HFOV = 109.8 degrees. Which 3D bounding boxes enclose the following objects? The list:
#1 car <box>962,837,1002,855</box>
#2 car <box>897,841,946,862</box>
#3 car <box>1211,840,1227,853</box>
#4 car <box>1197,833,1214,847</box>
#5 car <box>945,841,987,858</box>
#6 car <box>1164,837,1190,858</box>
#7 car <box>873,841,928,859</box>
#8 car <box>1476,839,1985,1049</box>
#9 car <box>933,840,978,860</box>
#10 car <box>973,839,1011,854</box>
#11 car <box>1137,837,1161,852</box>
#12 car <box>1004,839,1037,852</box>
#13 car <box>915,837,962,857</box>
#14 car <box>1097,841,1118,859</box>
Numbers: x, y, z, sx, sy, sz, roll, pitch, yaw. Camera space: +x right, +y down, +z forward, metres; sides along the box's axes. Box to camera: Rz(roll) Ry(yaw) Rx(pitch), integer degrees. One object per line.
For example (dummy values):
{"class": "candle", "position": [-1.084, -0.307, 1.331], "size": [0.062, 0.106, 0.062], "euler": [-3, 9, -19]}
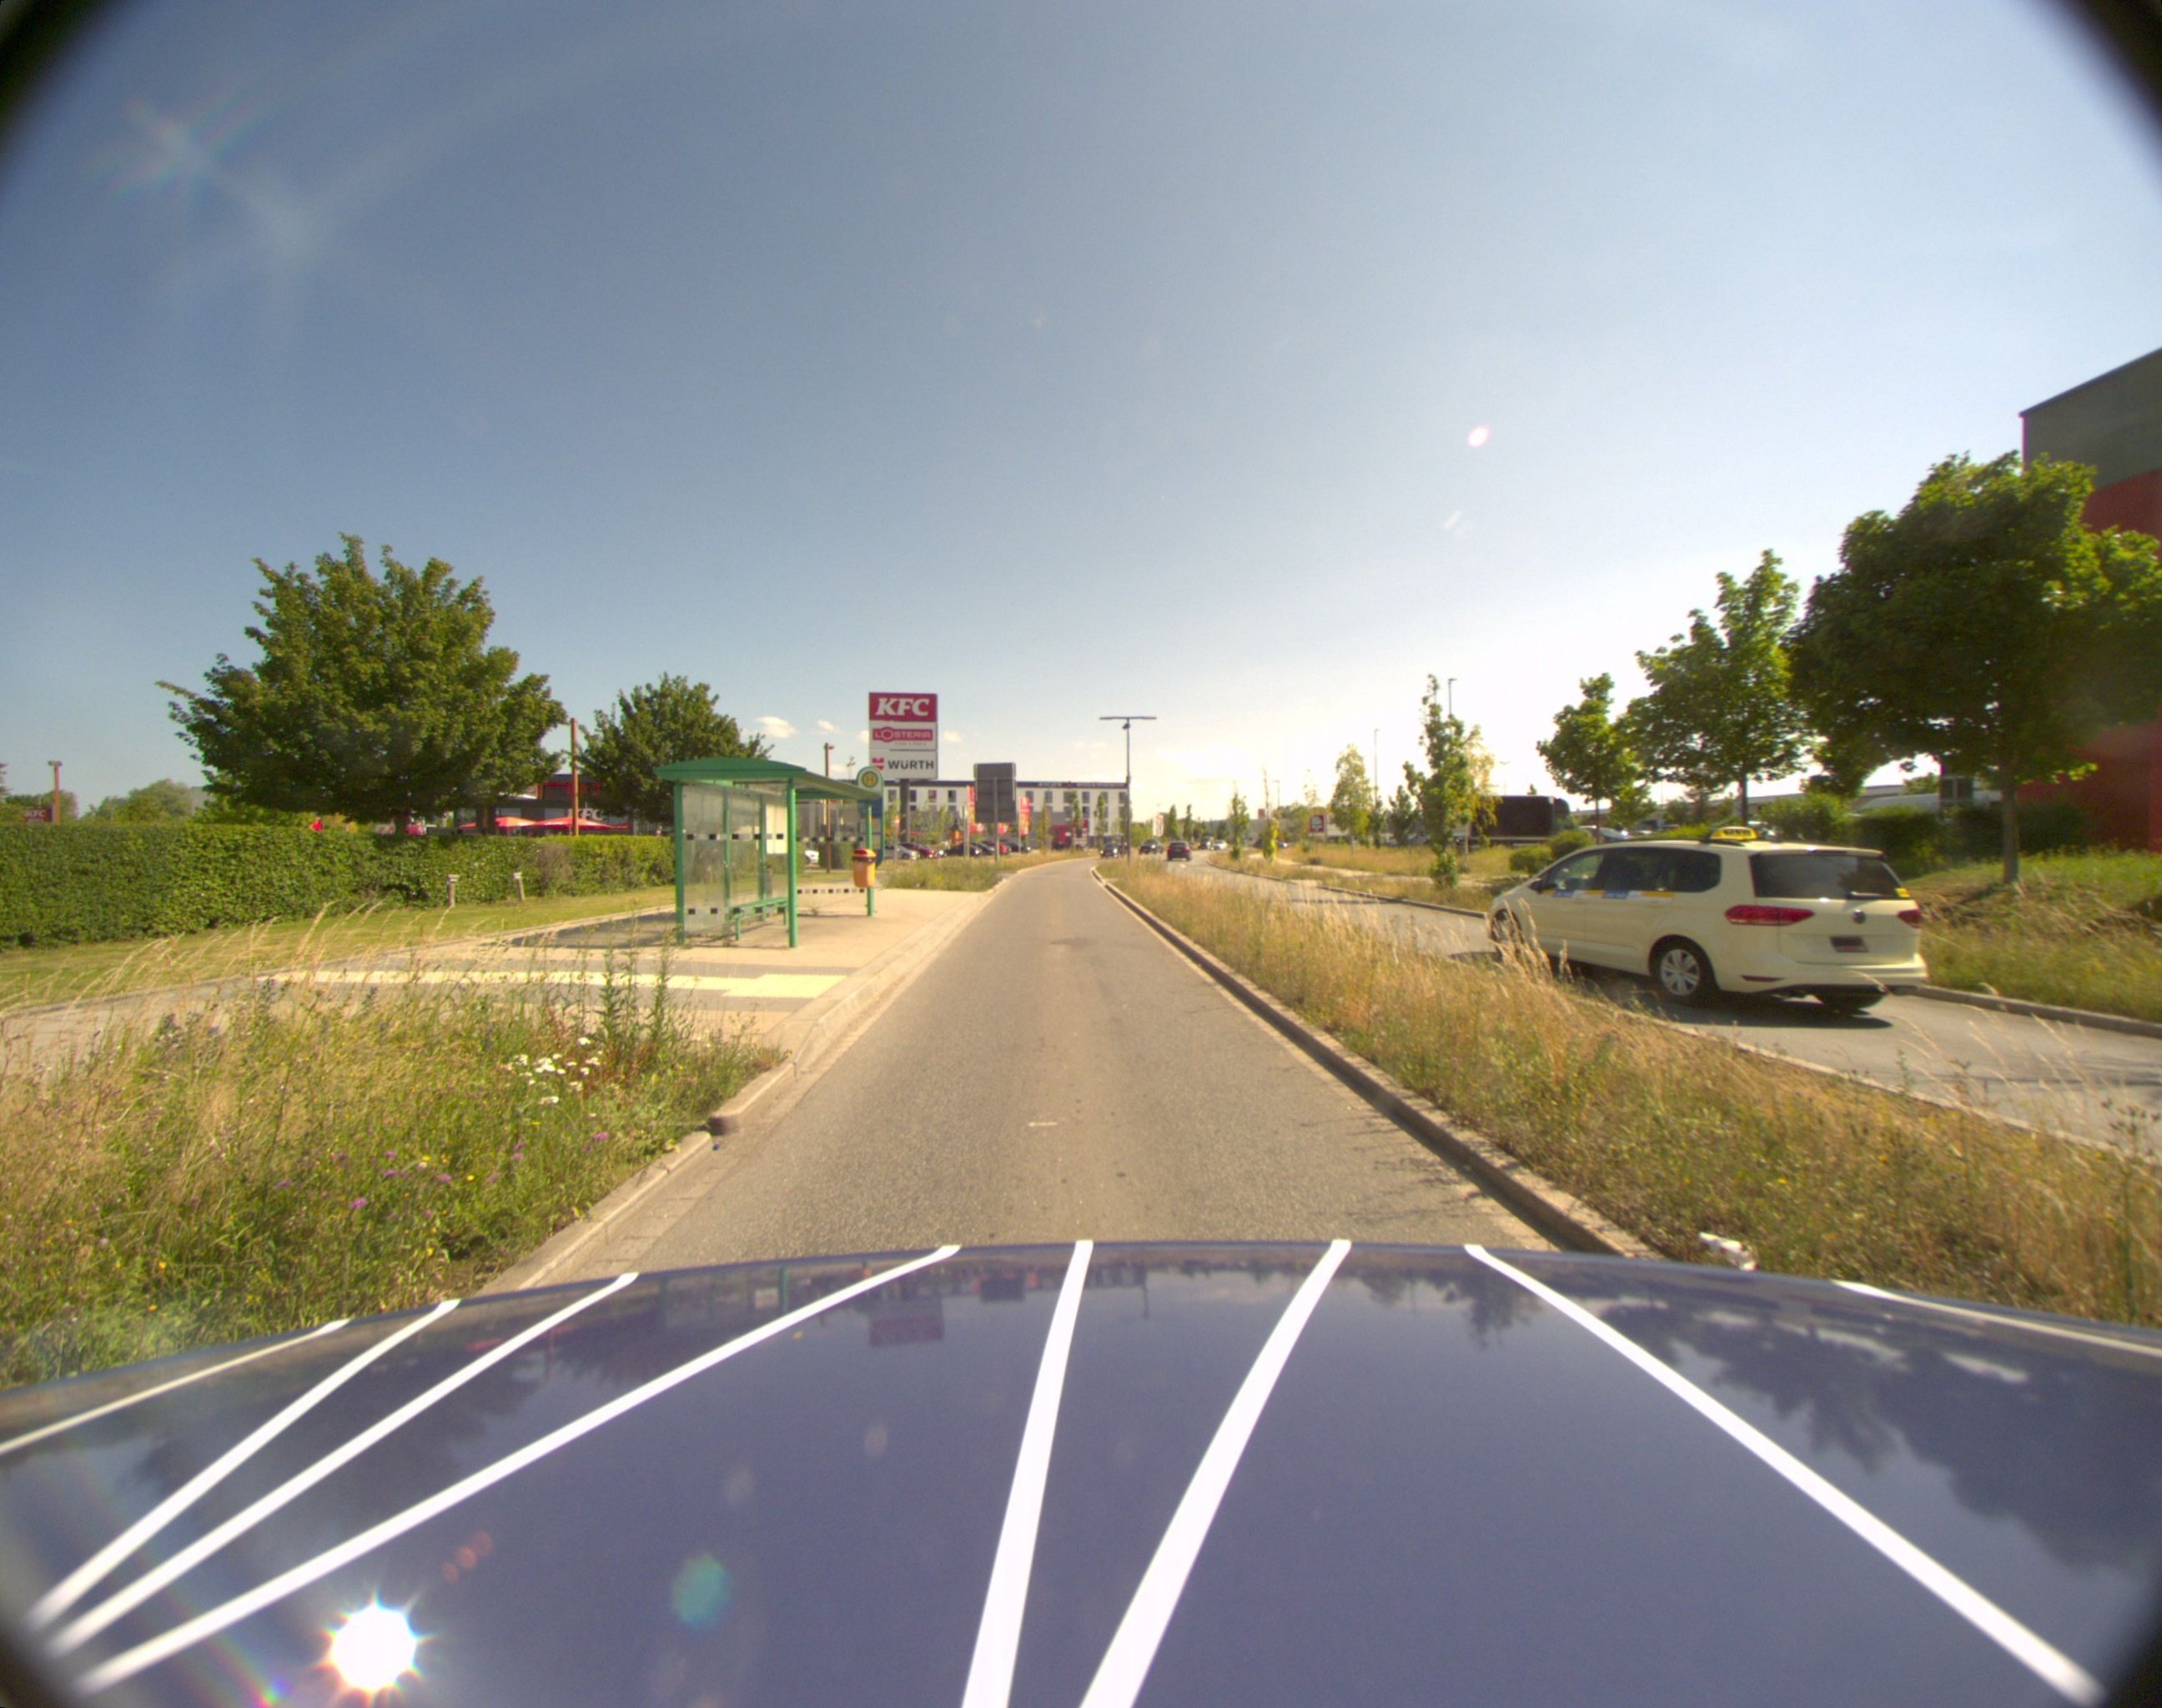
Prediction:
{"class": "car", "position": [-11.377, -0.956, 87.663], "size": [4.180, 2.002, 1.935], "euler": [0, 1, 11]}
{"class": "car", "position": [-15.429, -0.271, 73.642], "size": [4.179, 2.002, 1.935], "euler": [0, 1, 13]}
{"class": "car", "position": [19.517, -1.081, 107.406], "size": [1.996, 1.674, 4.004], "euler": [0, 1, 14]}
{"class": "car", "position": [19.191, -2.241, 117.356], "size": [2.077, 2.037, 4.686], "euler": [-2, 1, 14]}
{"class": "car", "position": [-12.548, -0.511, 82.893], "size": [4.178, 1.847, 1.805], "euler": [0, 1, 16]}
{"class": "car", "position": [7.610, -0.513, 60.292], "size": [1.997, 1.608, 4.002], "euler": [0, 1, 8]}
{"class": "car", "position": [-16.399, -0.383, 69.012], "size": [4.438, 1.643, 1.934], "euler": [0, 1, 5]}
{"class": "car", "position": [6.511, 0.737, 8.408], "size": [1.862, 1.705, 4.155], "euler": [2, 1, -3]}
{"class": "car", "position": [-13.243, -0.410, 80.146], "size": [4.179, 2.002, 1.935], "euler": [0, 1, 13]}
{"class": "car", "position": [-10.602, -0.942, 90.762], "size": [4.179, 1.752, 1.826], "euler": [0, 1, 16]}
{"class": "car", "position": [7.798, -1.064, 86.767], "size": [1.959, 1.653, 4.687], "euler": [0, 1, 14]}
{"class": "car", "position": [-7.741, -1.079, 96.927], "size": [3.818, 1.610, 1.758], "euler": [0, 1, 12]}
{"class": "car", "position": [-14.333, -0.682, 76.649], "size": [4.180, 2.002, 1.935], "euler": [0, 1, 12]}
{"class": "car", "position": [2.352, -0.324, 68.471], "size": [1.862, 1.459, 4.001], "euler": [0, -2, 1]}
